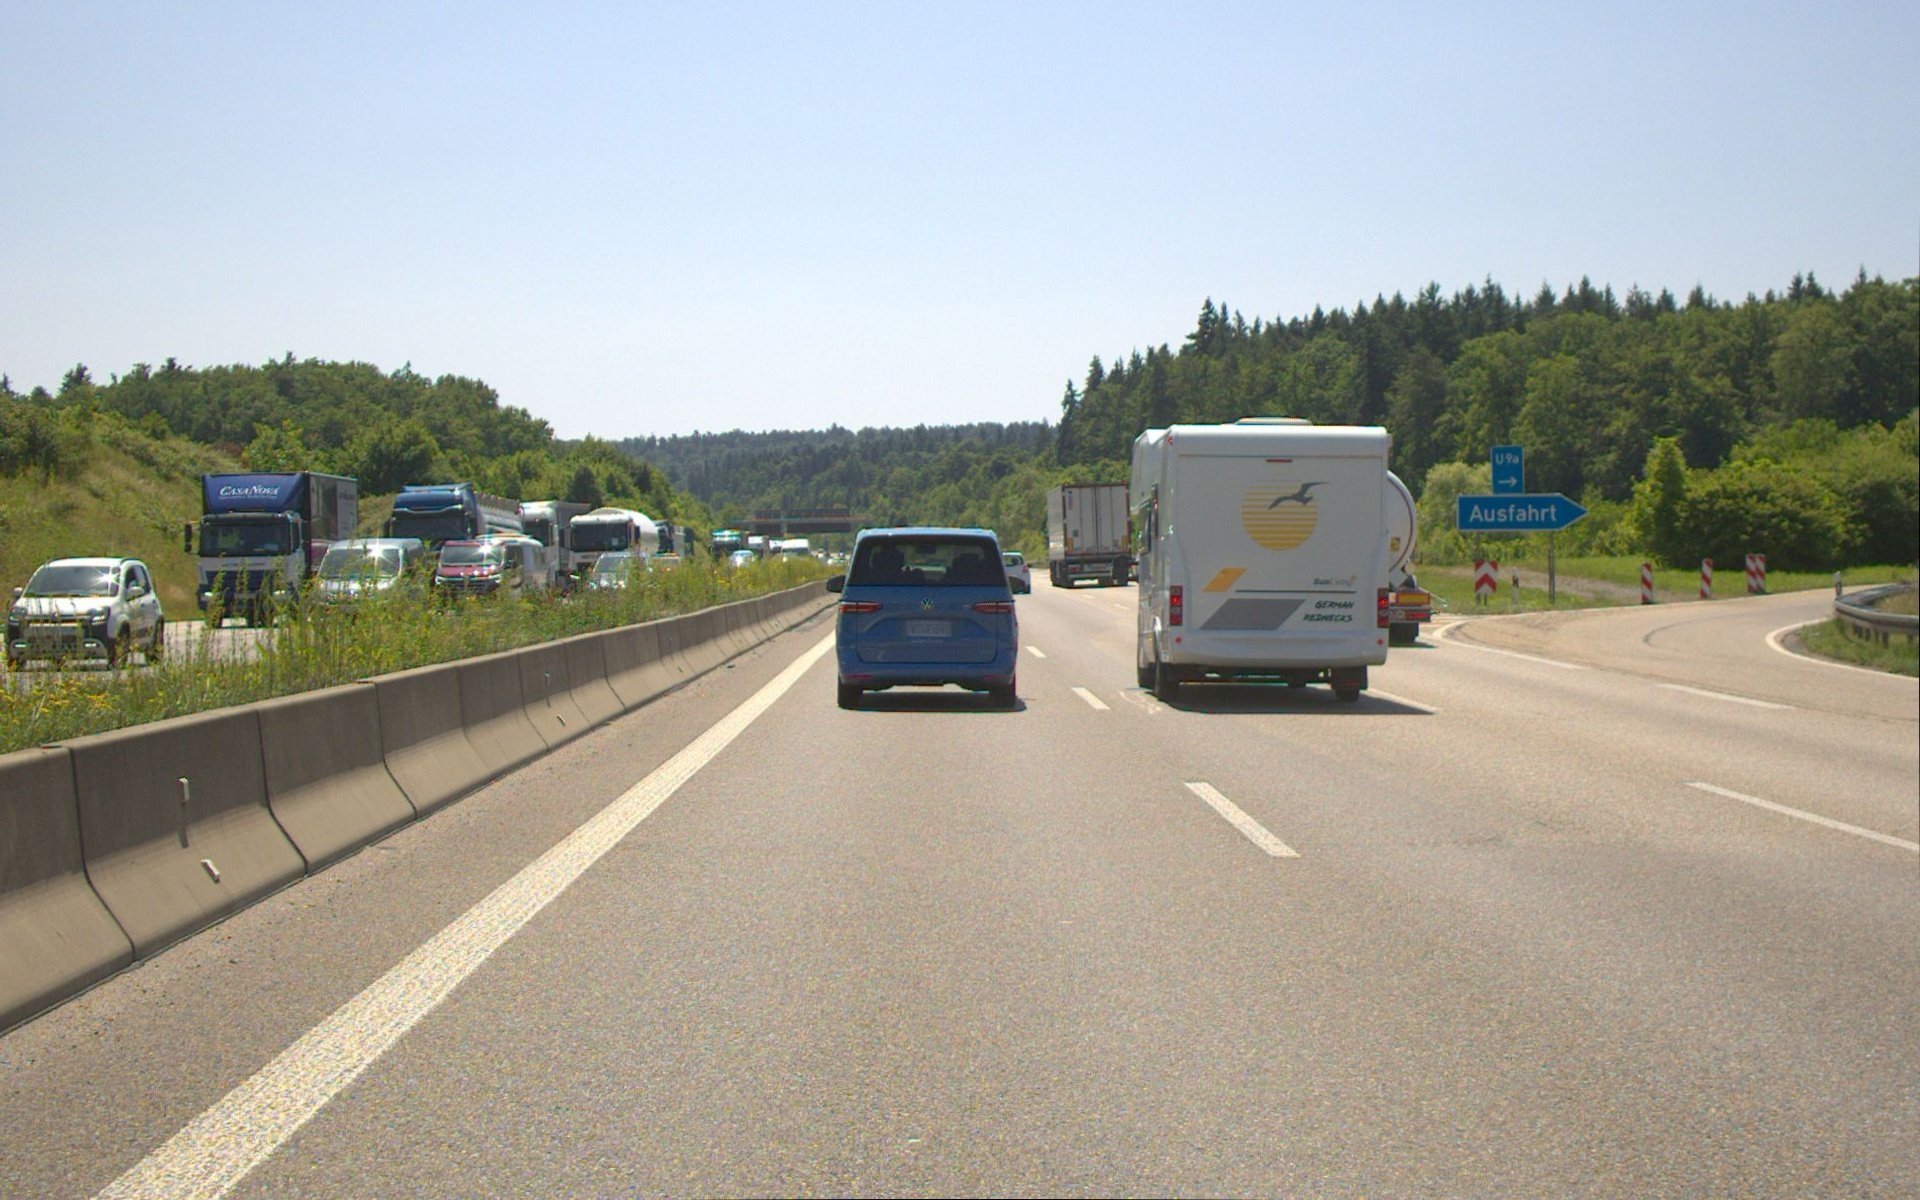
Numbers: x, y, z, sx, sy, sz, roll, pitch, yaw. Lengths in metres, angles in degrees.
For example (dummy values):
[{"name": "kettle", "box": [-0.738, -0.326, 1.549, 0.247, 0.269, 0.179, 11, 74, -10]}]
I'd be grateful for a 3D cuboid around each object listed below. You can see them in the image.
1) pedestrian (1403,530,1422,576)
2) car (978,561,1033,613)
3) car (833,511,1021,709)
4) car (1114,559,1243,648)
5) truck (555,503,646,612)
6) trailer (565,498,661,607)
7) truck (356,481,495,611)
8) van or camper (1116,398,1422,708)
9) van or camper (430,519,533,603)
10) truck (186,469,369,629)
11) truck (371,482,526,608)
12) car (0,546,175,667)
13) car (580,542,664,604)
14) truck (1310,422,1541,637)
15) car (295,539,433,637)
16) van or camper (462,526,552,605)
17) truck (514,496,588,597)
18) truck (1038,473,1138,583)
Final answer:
[{"name": "pedestrian", "box": [20.264, -2.096, 153.854, 0.688, 2.073, 0.928, 1, 0, 0]}, {"name": "car", "box": [1.617, -0.477, 122.406, 1.818, 1.788, 3.894, 1, 0, -1]}, {"name": "car", "box": [-0.356, 0.048, 37.046, 1.909, 2.007, 4.000, 0, 2, -1]}, {"name": "car", "box": [3.716, 0.039, 59.077, 1.909, 1.470, 4.000, 0, 1, 0]}, {"name": "truck", "box": [-13.346, -1.558, 128.060, 2.618, 3.877, 7.403, -1, 0, -1]}, {"name": "trailer", "box": [-13.470, -1.866, 134.206, 2.679, 3.936, 11.647, -3, 1, -1]}, {"name": "truck", "box": [-17.243, -1.706, 111.322, 3.490, 4.023, 6.644, 1, 0, -1]}, {"name": "van or camper", "box": [3.272, -0.485, 38.160, 2.603, 3.068, 7.182, 1, 0, -1]}, {"name": "van or camper", "box": [-12.812, -1.023, 92.370, 1.993, 2.145, 5.955, -1, 0, -1]}, {"name": "truck", "box": [-16.581, -1.195, 84.187, 2.545, 3.662, 9.937, 0, 0, 0]}, {"name": "truck", "box": [-17.381, -1.885, 117.780, 3.578, 4.079, 12.580, 0, 1, -1]}, {"name": "car", "box": [-12.669, 0.076, 49.369, 1.754, 1.544, 4.189, 5, 0, -1]}, {"name": "car", "box": [-8.794, -0.697, 89.810, 1.754, 1.578, 4.854, 0, 0, -1]}, {"name": "truck", "box": [8.247, -1.289, 61.925, 2.928, 3.563, 8.527, -1, 1, 0]}, {"name": "car", "box": [-12.320, -0.257, 71.313, 2.023, 1.951, 5.094, 0, 0, -1]}, {"name": "van or camper", "box": [-12.870, -0.962, 97.931, 1.993, 2.145, 4.718, -1, 0, -1]}, {"name": "truck", "box": [-16.891, -2.181, 142.312, 2.088, 4.015, 7.878, 1, 0, 0]}, {"name": "truck", "box": [5.002, -2.769, 135.985, 3.487, 4.156, 8.642, 1, 0, -1]}]
